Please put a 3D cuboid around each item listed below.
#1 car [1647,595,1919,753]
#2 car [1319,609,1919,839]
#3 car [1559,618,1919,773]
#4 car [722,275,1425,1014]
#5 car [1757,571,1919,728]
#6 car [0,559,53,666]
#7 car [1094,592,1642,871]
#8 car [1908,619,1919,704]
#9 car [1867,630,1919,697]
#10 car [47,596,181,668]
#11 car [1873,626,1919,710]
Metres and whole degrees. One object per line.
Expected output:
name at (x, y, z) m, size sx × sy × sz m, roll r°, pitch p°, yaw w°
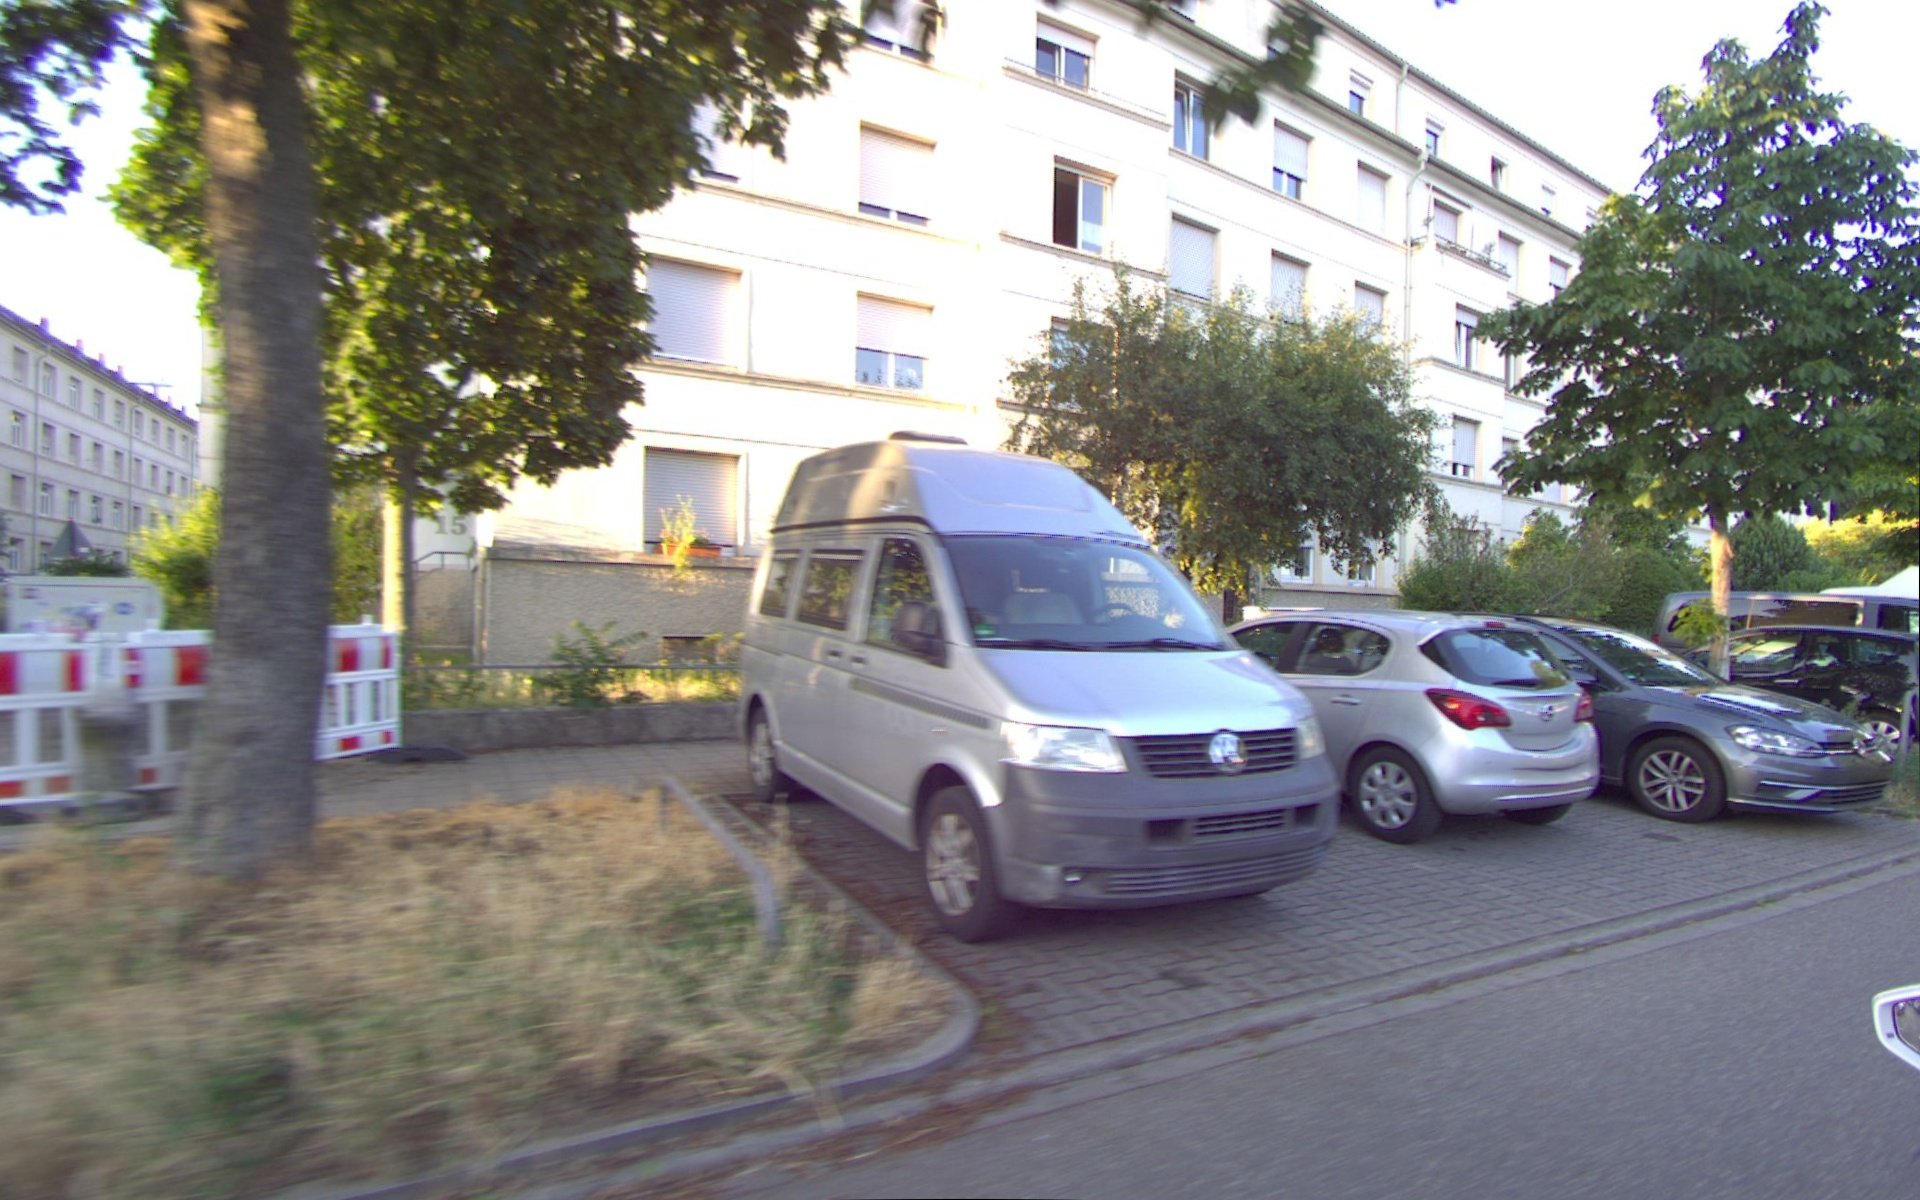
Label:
car at (12.034, 0.910, 13.120) m, size 1.979 × 1.898 × 4.644 m, roll 1°, pitch 0°, yaw -34°
car at (5.425, 0.848, 8.845) m, size 1.663 × 1.413 × 4.226 m, roll 2°, pitch 0°, yaw -28°
car at (9.554, 1.015, 12.033) m, size 1.638 × 1.458 × 3.747 m, roll 1°, pitch 0°, yaw -33°
car at (0.109, 0.170, 6.107) m, size 1.974 × 2.604 × 4.715 m, roll 1°, pitch 0°, yaw -27°
car at (16.001, 0.803, 16.258) m, size 1.979 × 2.463 × 4.474 m, roll 1°, pitch 0°, yaw -34°
car at (-17.615, 0.195, 17.273) m, size 1.974 × 1.842 × 3.972 m, roll 1°, pitch 0°, yaw -27°
car at (2.895, 0.782, 7.960) m, size 1.633 × 1.543 × 3.784 m, roll 2°, pitch 1°, yaw -30°
car at (22.114, 1.339, 20.406) m, size 1.823 × 1.800 × 3.838 m, roll 1°, pitch 0°, yaw -33°
car at (23.908, 1.547, 23.339) m, size 1.774 × 1.544 × 3.956 m, roll 1°, pitch 0°, yaw -38°
car at (-20.604, 0.729, 24.611) m, size 1.628 × 1.624 × 3.429 m, roll 1°, pitch 0°, yaw -25°
car at (20.096, 1.372, 19.020) m, size 1.766 × 1.616 × 3.838 m, roll 1°, pitch 0°, yaw -33°
